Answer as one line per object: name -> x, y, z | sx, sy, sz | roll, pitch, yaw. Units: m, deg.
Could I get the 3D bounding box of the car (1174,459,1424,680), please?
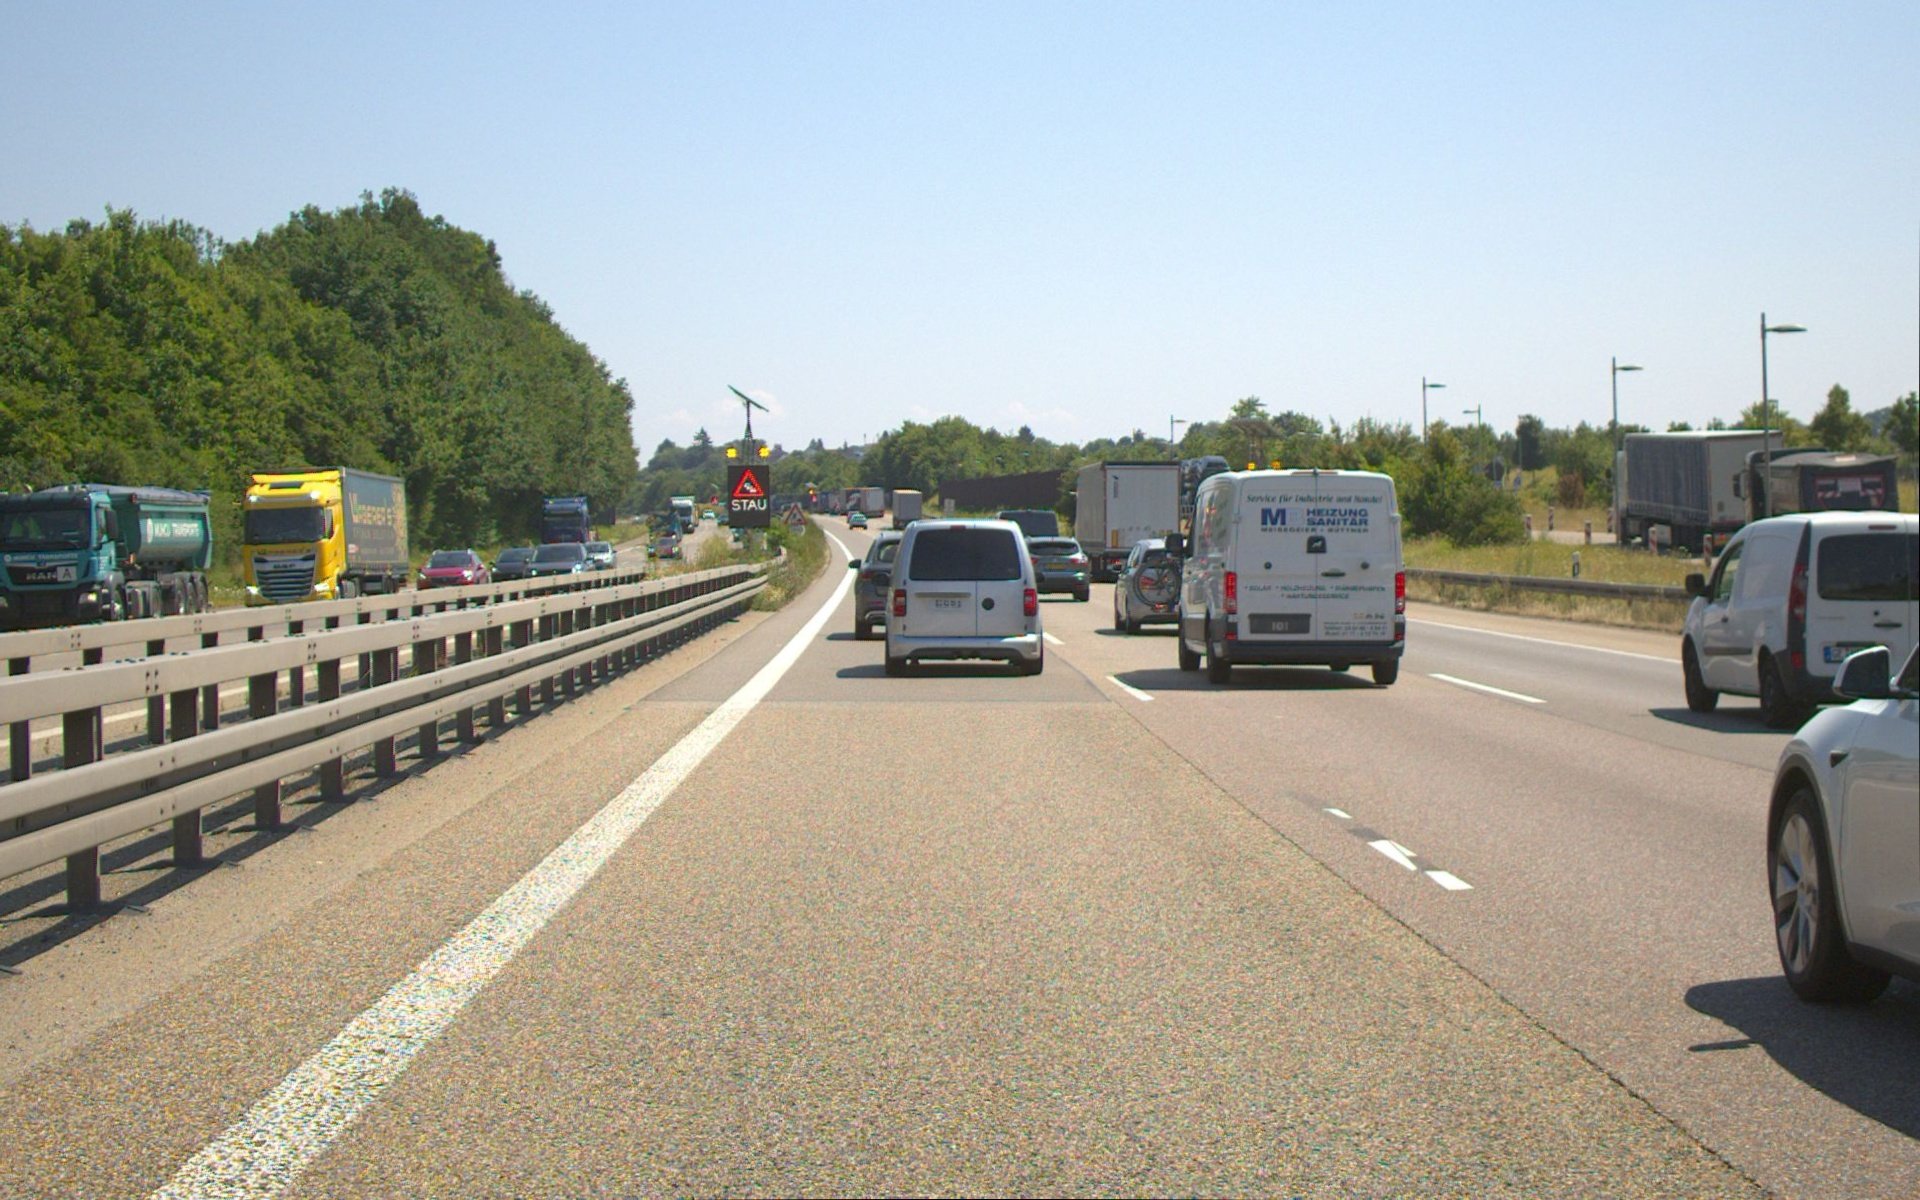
car -> 3.645, -0.354, 37.981 | 2.181, 2.246, 5.363 | 0, 1, 0

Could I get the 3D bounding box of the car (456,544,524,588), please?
car -> -16.502, -1.208, 120.770 | 1.712, 1.463, 4.146 | -3, 1, 1

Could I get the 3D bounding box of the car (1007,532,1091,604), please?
car -> 2.160, -0.797, 84.205 | 1.902, 1.666, 4.089 | -1, 1, 0

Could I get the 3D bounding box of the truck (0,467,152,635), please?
truck -> -18.645, -1.006, 70.553 | 2.914, 3.289, 5.331 | -1, 1, -1

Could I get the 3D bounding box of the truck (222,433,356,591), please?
truck -> -18.949, -2.470, 97.240 | 3.174, 4.326, 3.514 | -1, 1, -2

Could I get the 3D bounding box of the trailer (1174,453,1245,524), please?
trailer -> 16.185, -7.183, 223.918 | 2.605, 4.243, 18.424 | 1, 1, -2

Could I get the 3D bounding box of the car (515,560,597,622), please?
car -> -11.006, -0.263, 93.862 | 1.782, 1.619, 4.000 | -1, 1, -1

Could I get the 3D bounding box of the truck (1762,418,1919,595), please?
truck -> 22.272, -2.233, 85.782 | 3.790, 4.069, 12.513 | 1, 1, 11

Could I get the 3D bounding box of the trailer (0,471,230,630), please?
trailer -> -18.773, -1.117, 76.952 | 2.914, 3.289, 9.711 | -1, 1, -1

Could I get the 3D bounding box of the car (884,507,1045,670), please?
car -> 0.040, -0.157, 39.915 | 1.745, 1.758, 4.089 | -1, 1, 0

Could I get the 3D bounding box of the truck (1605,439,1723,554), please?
truck -> 25.811, -3.763, 126.282 | 3.052, 4.069, 6.398 | 1, 1, 1

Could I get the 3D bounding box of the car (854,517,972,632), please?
car -> -0.707, -0.411, 53.649 | 1.745, 1.695, 4.089 | -1, 1, 0

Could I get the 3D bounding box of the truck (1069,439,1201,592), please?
truck -> 5.943, -2.860, 119.234 | 3.788, 4.982, 12.519 | 1, 1, 0

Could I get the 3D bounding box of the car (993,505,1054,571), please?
car -> 1.876, -1.826, 101.862 | 1.674, 1.885, 4.089 | -1, 1, 0

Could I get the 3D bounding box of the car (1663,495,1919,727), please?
car -> 7.533, 0.046, 29.521 | 1.950, 1.831, 4.179 | -1, 1, -2

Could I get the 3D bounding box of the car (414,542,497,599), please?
car -> -14.598, -0.869, 99.665 | 1.782, 1.525, 4.385 | -3, 1, -1

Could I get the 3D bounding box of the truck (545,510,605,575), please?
truck -> -21.455, -3.202, 191.846 | 2.996, 3.546, 3.118 | -1, 1, -1

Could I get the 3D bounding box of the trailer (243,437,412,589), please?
trailer -> -19.306, -2.636, 105.888 | 3.174, 4.326, 13.814 | -1, 1, -2

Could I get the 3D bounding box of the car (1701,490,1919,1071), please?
car -> 3.685, 0.524, 9.436 | 1.950, 1.631, 5.601 | 1, 1, -1

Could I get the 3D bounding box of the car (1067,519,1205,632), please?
car -> 2.824, -0.416, 55.910 | 1.976, 1.727, 4.089 | -1, 1, 0

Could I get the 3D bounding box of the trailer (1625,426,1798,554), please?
trailer -> 25.659, -3.650, 118.226 | 3.052, 4.069, 14.258 | 1, 1, 1

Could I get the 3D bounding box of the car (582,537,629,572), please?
car -> -16.500, -2.108, 160.003 | 1.782, 1.525, 3.884 | -3, 1, -1
